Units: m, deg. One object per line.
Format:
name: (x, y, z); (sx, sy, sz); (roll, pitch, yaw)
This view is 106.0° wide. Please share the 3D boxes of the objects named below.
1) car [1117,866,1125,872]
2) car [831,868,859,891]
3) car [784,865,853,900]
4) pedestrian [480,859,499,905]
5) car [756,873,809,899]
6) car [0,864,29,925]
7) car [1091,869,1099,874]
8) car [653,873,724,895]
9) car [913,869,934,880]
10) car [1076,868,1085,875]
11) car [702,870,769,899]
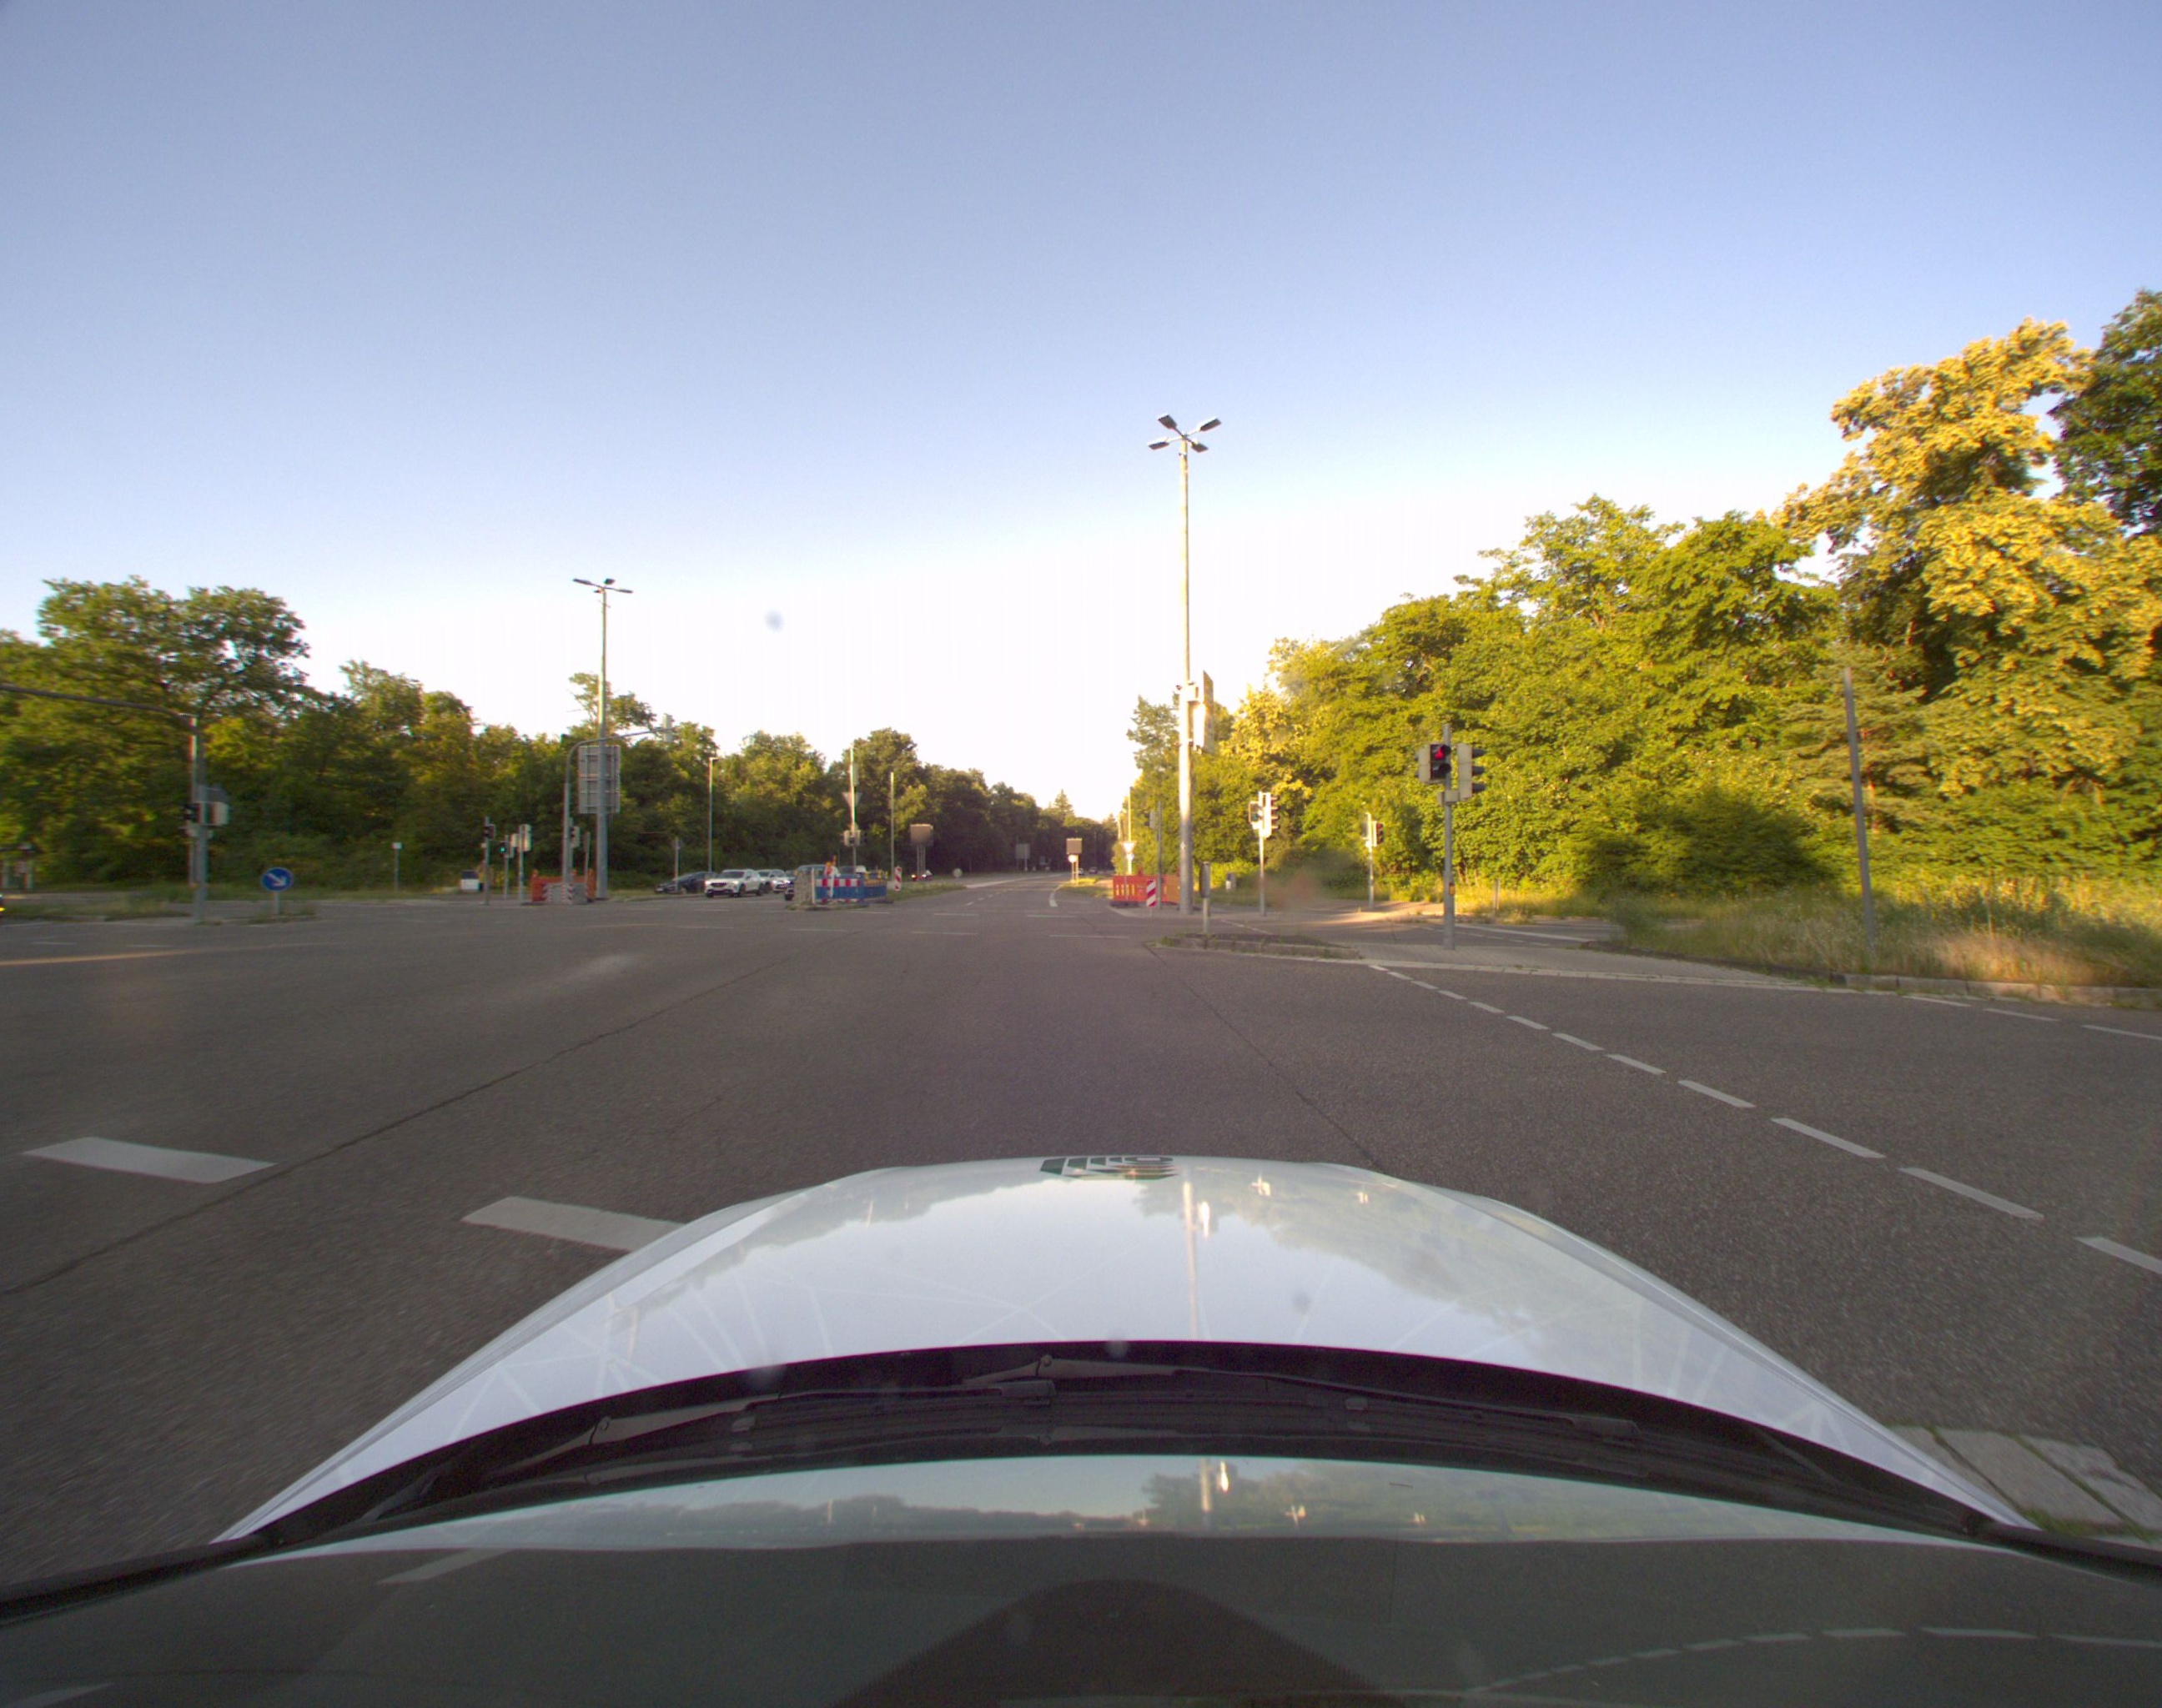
car: (11.109, 4.188, 224.685); (1.567, 1.534, 3.688); (0, -1, 11)
car: (-21.144, 2.266, 73.070); (1.877, 2.024, 4.221); (0, -1, -8)
car: (-11.829, 1.238, 37.001); (1.710, 1.456, 4.233); (0, -1, 1)
pedestrian: (-23.335, 1.084, 32.137); (0.578, 1.800, 0.742); (0, -1, -36)
car: (-18.658, 1.981, 51.103); (1.711, 1.456, 4.233); (0, -1, 0)
car: (-28.769, 1.004, 20.142); (3.956, 1.520, 2.011); (0, -1, 16)
car: (3.403, 4.181, 196.579); (1.447, 1.244, 2.970); (0, -1, 8)
car: (-23.167, 1.750, 48.193); (1.588, 1.244, 3.667); (-1, -1, 22)
car: (-20.080, 2.616, 103.902); (1.872, 1.422, 4.232); (0, -1, 0)
car: (-0.089, 3.722, 172.301); (1.541, 1.347, 3.117); (-1, -1, 3)
car: (-18.304, 1.582, 43.294); (1.710, 1.456, 4.233); (0, -1, 1)
